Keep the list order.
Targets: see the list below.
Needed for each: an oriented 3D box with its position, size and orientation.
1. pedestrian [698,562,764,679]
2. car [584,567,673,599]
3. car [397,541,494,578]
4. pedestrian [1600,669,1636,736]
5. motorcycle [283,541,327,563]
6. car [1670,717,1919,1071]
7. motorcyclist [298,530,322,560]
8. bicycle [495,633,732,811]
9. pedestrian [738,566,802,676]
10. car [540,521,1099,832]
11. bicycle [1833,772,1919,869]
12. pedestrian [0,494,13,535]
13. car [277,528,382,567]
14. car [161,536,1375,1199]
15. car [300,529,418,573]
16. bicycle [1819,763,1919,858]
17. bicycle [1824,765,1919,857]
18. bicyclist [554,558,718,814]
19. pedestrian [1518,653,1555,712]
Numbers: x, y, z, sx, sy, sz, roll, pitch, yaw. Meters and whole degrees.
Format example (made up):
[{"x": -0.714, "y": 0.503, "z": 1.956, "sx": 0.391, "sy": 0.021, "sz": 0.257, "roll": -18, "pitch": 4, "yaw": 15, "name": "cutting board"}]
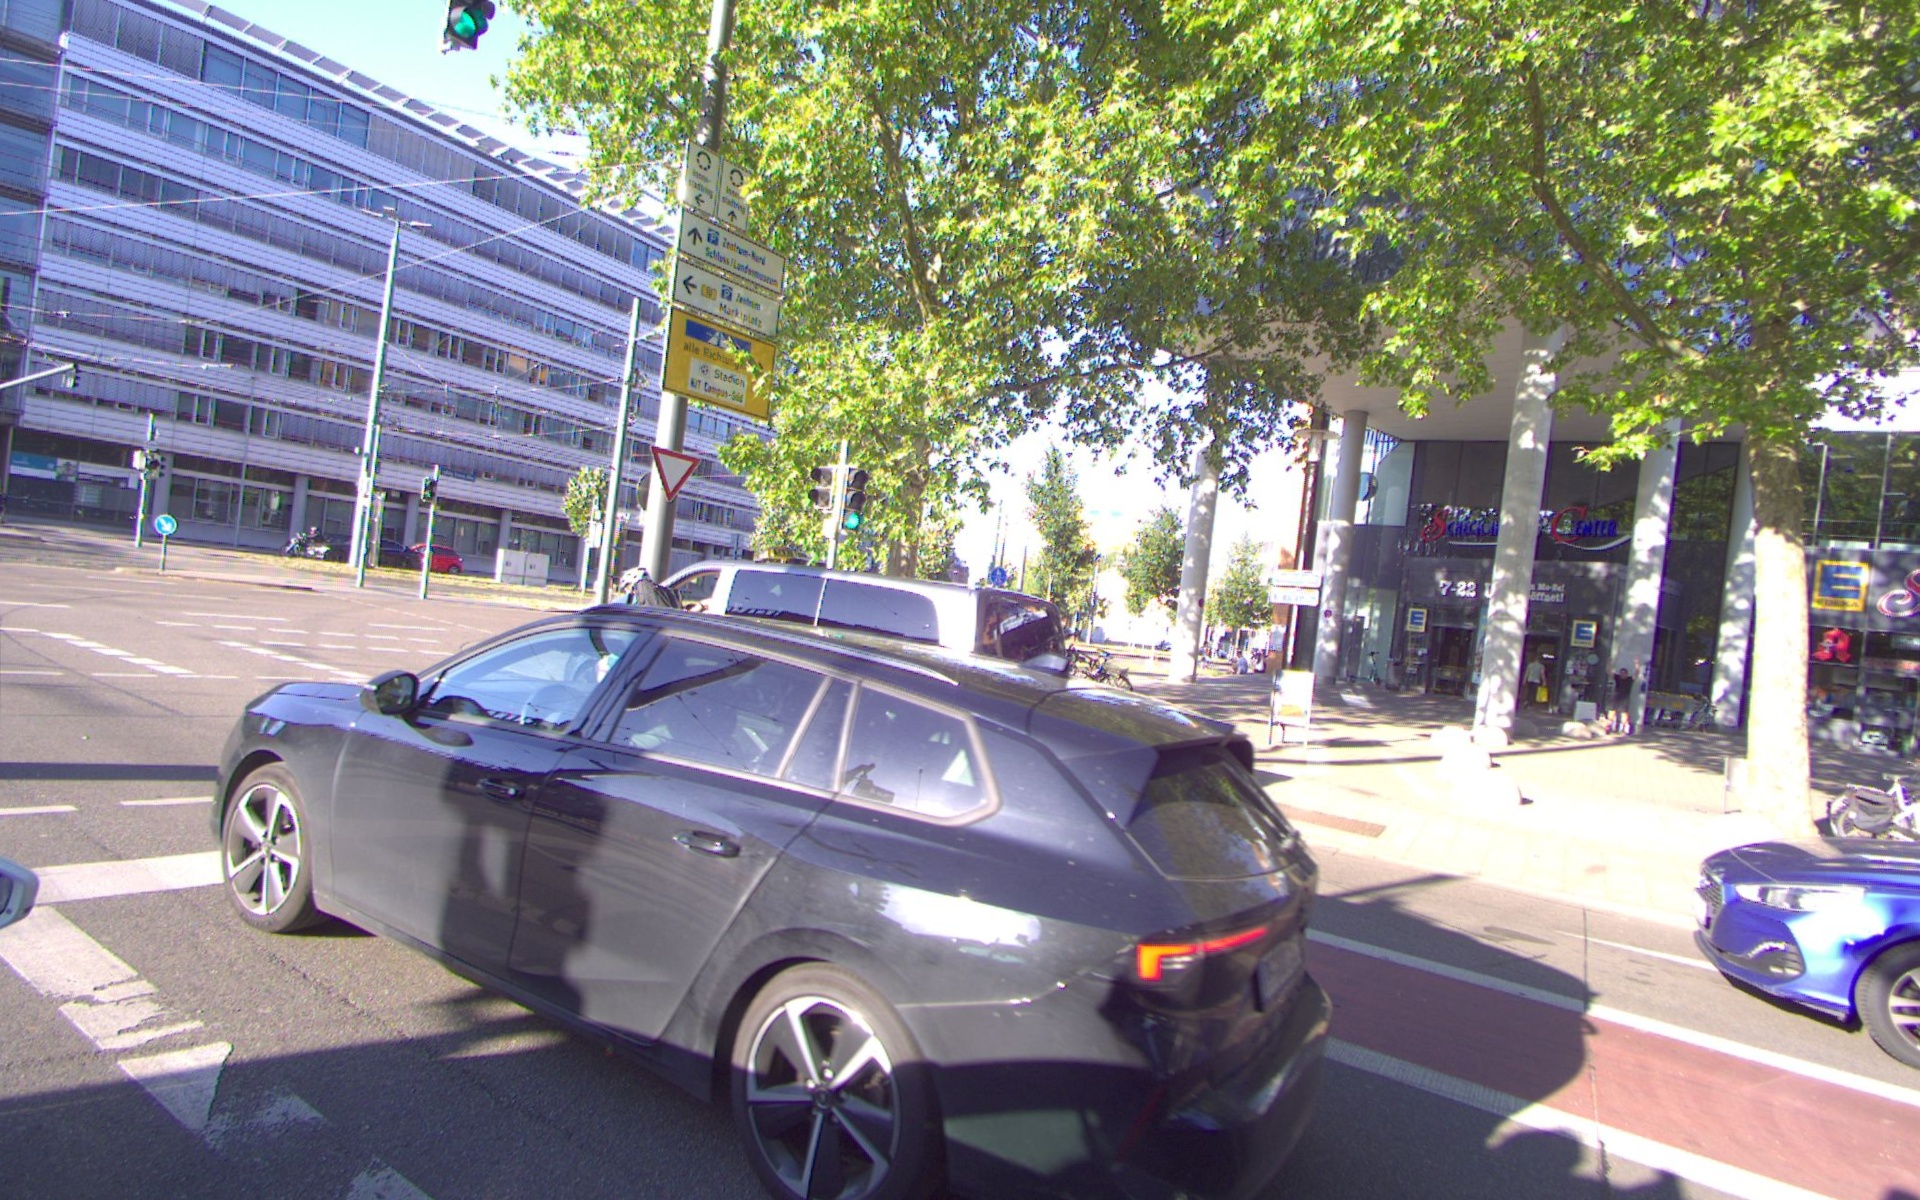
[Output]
[{"x": -3.882, "y": 0.346, "z": 17.039, "sx": 0.638, "sy": 1.868, "sz": 0.806, "roll": 7, "pitch": 1, "yaw": -35, "name": "pedestrian"}, {"x": -18.930, "y": -0.955, "z": 57.601, "sx": 1.758, "sy": 1.354, "sz": 4.602, "roll": 7, "pitch": 1, "yaw": 37, "name": "car"}, {"x": -26.393, "y": -2.072, "z": 51.690, "sx": 1.758, "sy": 1.411, "sz": 3.984, "roll": 7, "pitch": 1, "yaw": 37, "name": "car"}, {"x": 17.495, "y": 2.726, "z": 26.748, "sx": 0.598, "sy": 1.707, "sz": 0.511, "roll": 6, "pitch": 1, "yaw": -41, "name": "pedestrian"}, {"x": -30.157, "y": -2.191, "z": 46.324, "sx": 0.460, "sy": 0.820, "sz": 1.568, "roll": 7, "pitch": 0, "yaw": 36, "name": "motorcycle"}, {"x": 6.141, "y": 1.674, "z": 4.845, "sx": 4.181, "sy": 1.503, "sz": 1.741, "roll": 7, "pitch": 0, "yaw": 31, "name": "car"}, {"x": -30.016, "y": -2.552, "z": 46.451, "sx": 0.452, "sy": 1.291, "sz": 0.712, "roll": 7, "pitch": 1, "yaw": 36, "name": "motorcyclist"}, {"x": -2.625, "y": 0.860, "z": 7.526, "sx": 1.839, "sy": 0.993, "sz": 0.561, "roll": 7, "pitch": 1, "yaw": 32, "name": "bicycle"}, {"x": -3.310, "y": 0.358, "z": 17.480, "sx": 0.643, "sy": 1.799, "sz": 0.757, "roll": 7, "pitch": 1, "yaw": -34, "name": "pedestrian"}, {"x": -1.473, "y": 0.535, "z": 9.568, "sx": 5.012, "sy": 2.004, "sz": 1.939, "roll": 7, "pitch": 0, "yaw": 31, "name": "car"}, {"x": 10.546, "y": 2.478, "z": 11.095, "sx": 1.233, "sy": 0.898, "sz": 0.462, "roll": 7, "pitch": 1, "yaw": 32, "name": "bicycle"}, {"x": -38.248, "y": -3.430, "z": 39.781, "sx": 0.883, "sy": 1.583, "sz": 0.947, "roll": 7, "pitch": 1, "yaw": 38, "name": "pedestrian"}, {"x": -32.585, "y": -2.701, "z": 52.070, "sx": 1.758, "sy": 1.415, "sz": 4.157, "roll": 7, "pitch": 0, "yaw": 37, "name": "car"}, {"x": -0.923, "y": 0.746, "z": 3.706, "sx": 4.199, "sy": 1.431, "sz": 1.742, "roll": 7, "pitch": -2, "yaw": 32, "name": "car"}, {"x": -27.265, "y": -2.217, "z": 45.753, "sx": 1.758, "sy": 1.415, "sz": 4.157, "roll": 7, "pitch": 0, "yaw": 37, "name": "car"}, {"x": 11.205, "y": 2.544, "z": 12.082, "sx": 0.437, "sy": 0.930, "sz": 1.210, "roll": 6, "pitch": 0, "yaw": -39, "name": "bicycle"}, {"x": 11.503, "y": 2.606, "z": 12.354, "sx": 0.460, "sy": 0.938, "sz": 1.210, "roll": 6, "pitch": 0, "yaw": -39, "name": "bicycle"}, {"x": -2.379, "y": 0.609, "z": 7.399, "sx": 0.766, "sy": 1.714, "sz": 0.632, "roll": 7, "pitch": 1, "yaw": 32, "name": "bicyclist"}, {"x": 17.989, "y": 2.586, "z": 31.365, "sx": 0.707, "sy": 1.728, "sz": 0.803, "roll": 7, "pitch": 1, "yaw": 39, "name": "pedestrian"}]
